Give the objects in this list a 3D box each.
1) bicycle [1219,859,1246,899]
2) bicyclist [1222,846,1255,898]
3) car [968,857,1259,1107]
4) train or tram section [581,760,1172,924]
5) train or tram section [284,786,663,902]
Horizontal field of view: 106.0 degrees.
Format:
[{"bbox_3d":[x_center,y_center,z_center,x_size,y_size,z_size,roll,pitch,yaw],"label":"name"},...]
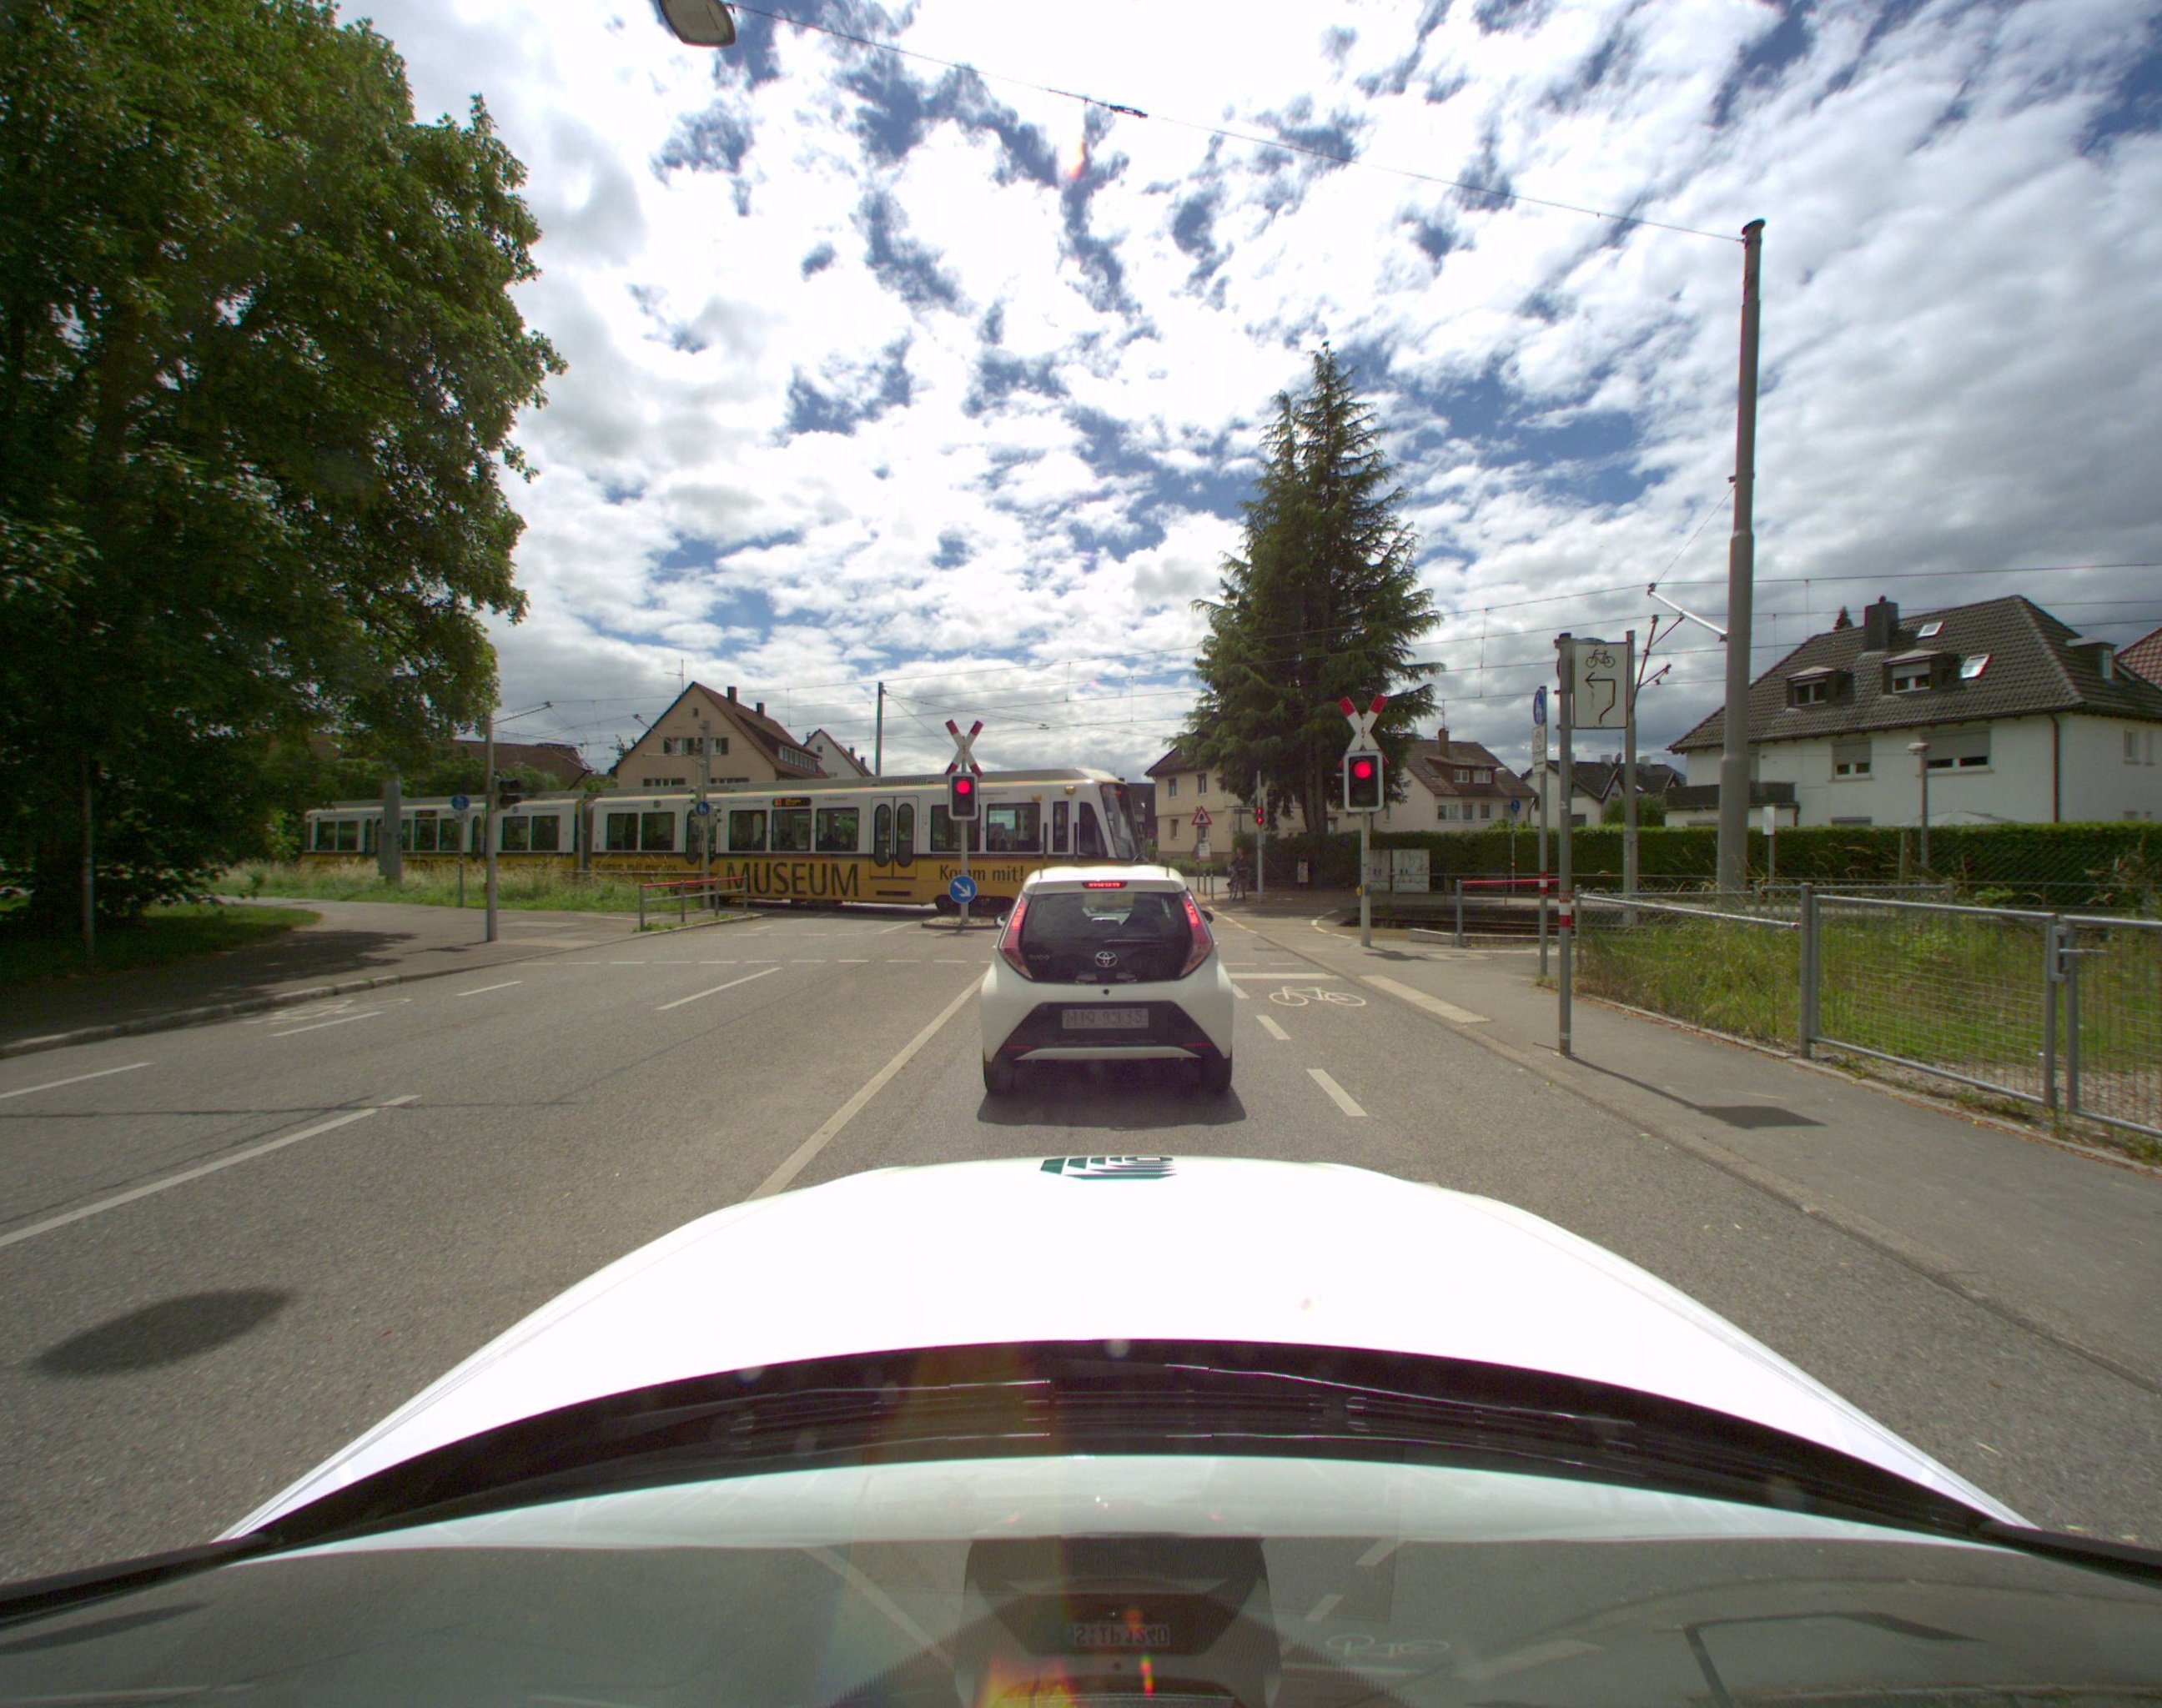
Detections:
[{"bbox_3d":[4.857,0.778,26.186,0.456,1.172,1.477,-3,2,-4],"label":"bicycle"},{"bbox_3d":[5.076,0.569,26.277,0.839,1.553,0.755,-3,2,-4],"label":"bicyclist"},{"bbox_3d":[0.155,0.759,6.679,1.716,1.442,3.706,0,0,-2],"label":"car"},{"bbox_3d":[-6.865,-0.320,23.642,18.885,3.704,2.936,0,1,24],"label":"train or tram section"},{"bbox_3d":[-24.021,-0.369,31.426,18.885,3.704,2.936,0,1,24],"label":"train or tram section"}]
